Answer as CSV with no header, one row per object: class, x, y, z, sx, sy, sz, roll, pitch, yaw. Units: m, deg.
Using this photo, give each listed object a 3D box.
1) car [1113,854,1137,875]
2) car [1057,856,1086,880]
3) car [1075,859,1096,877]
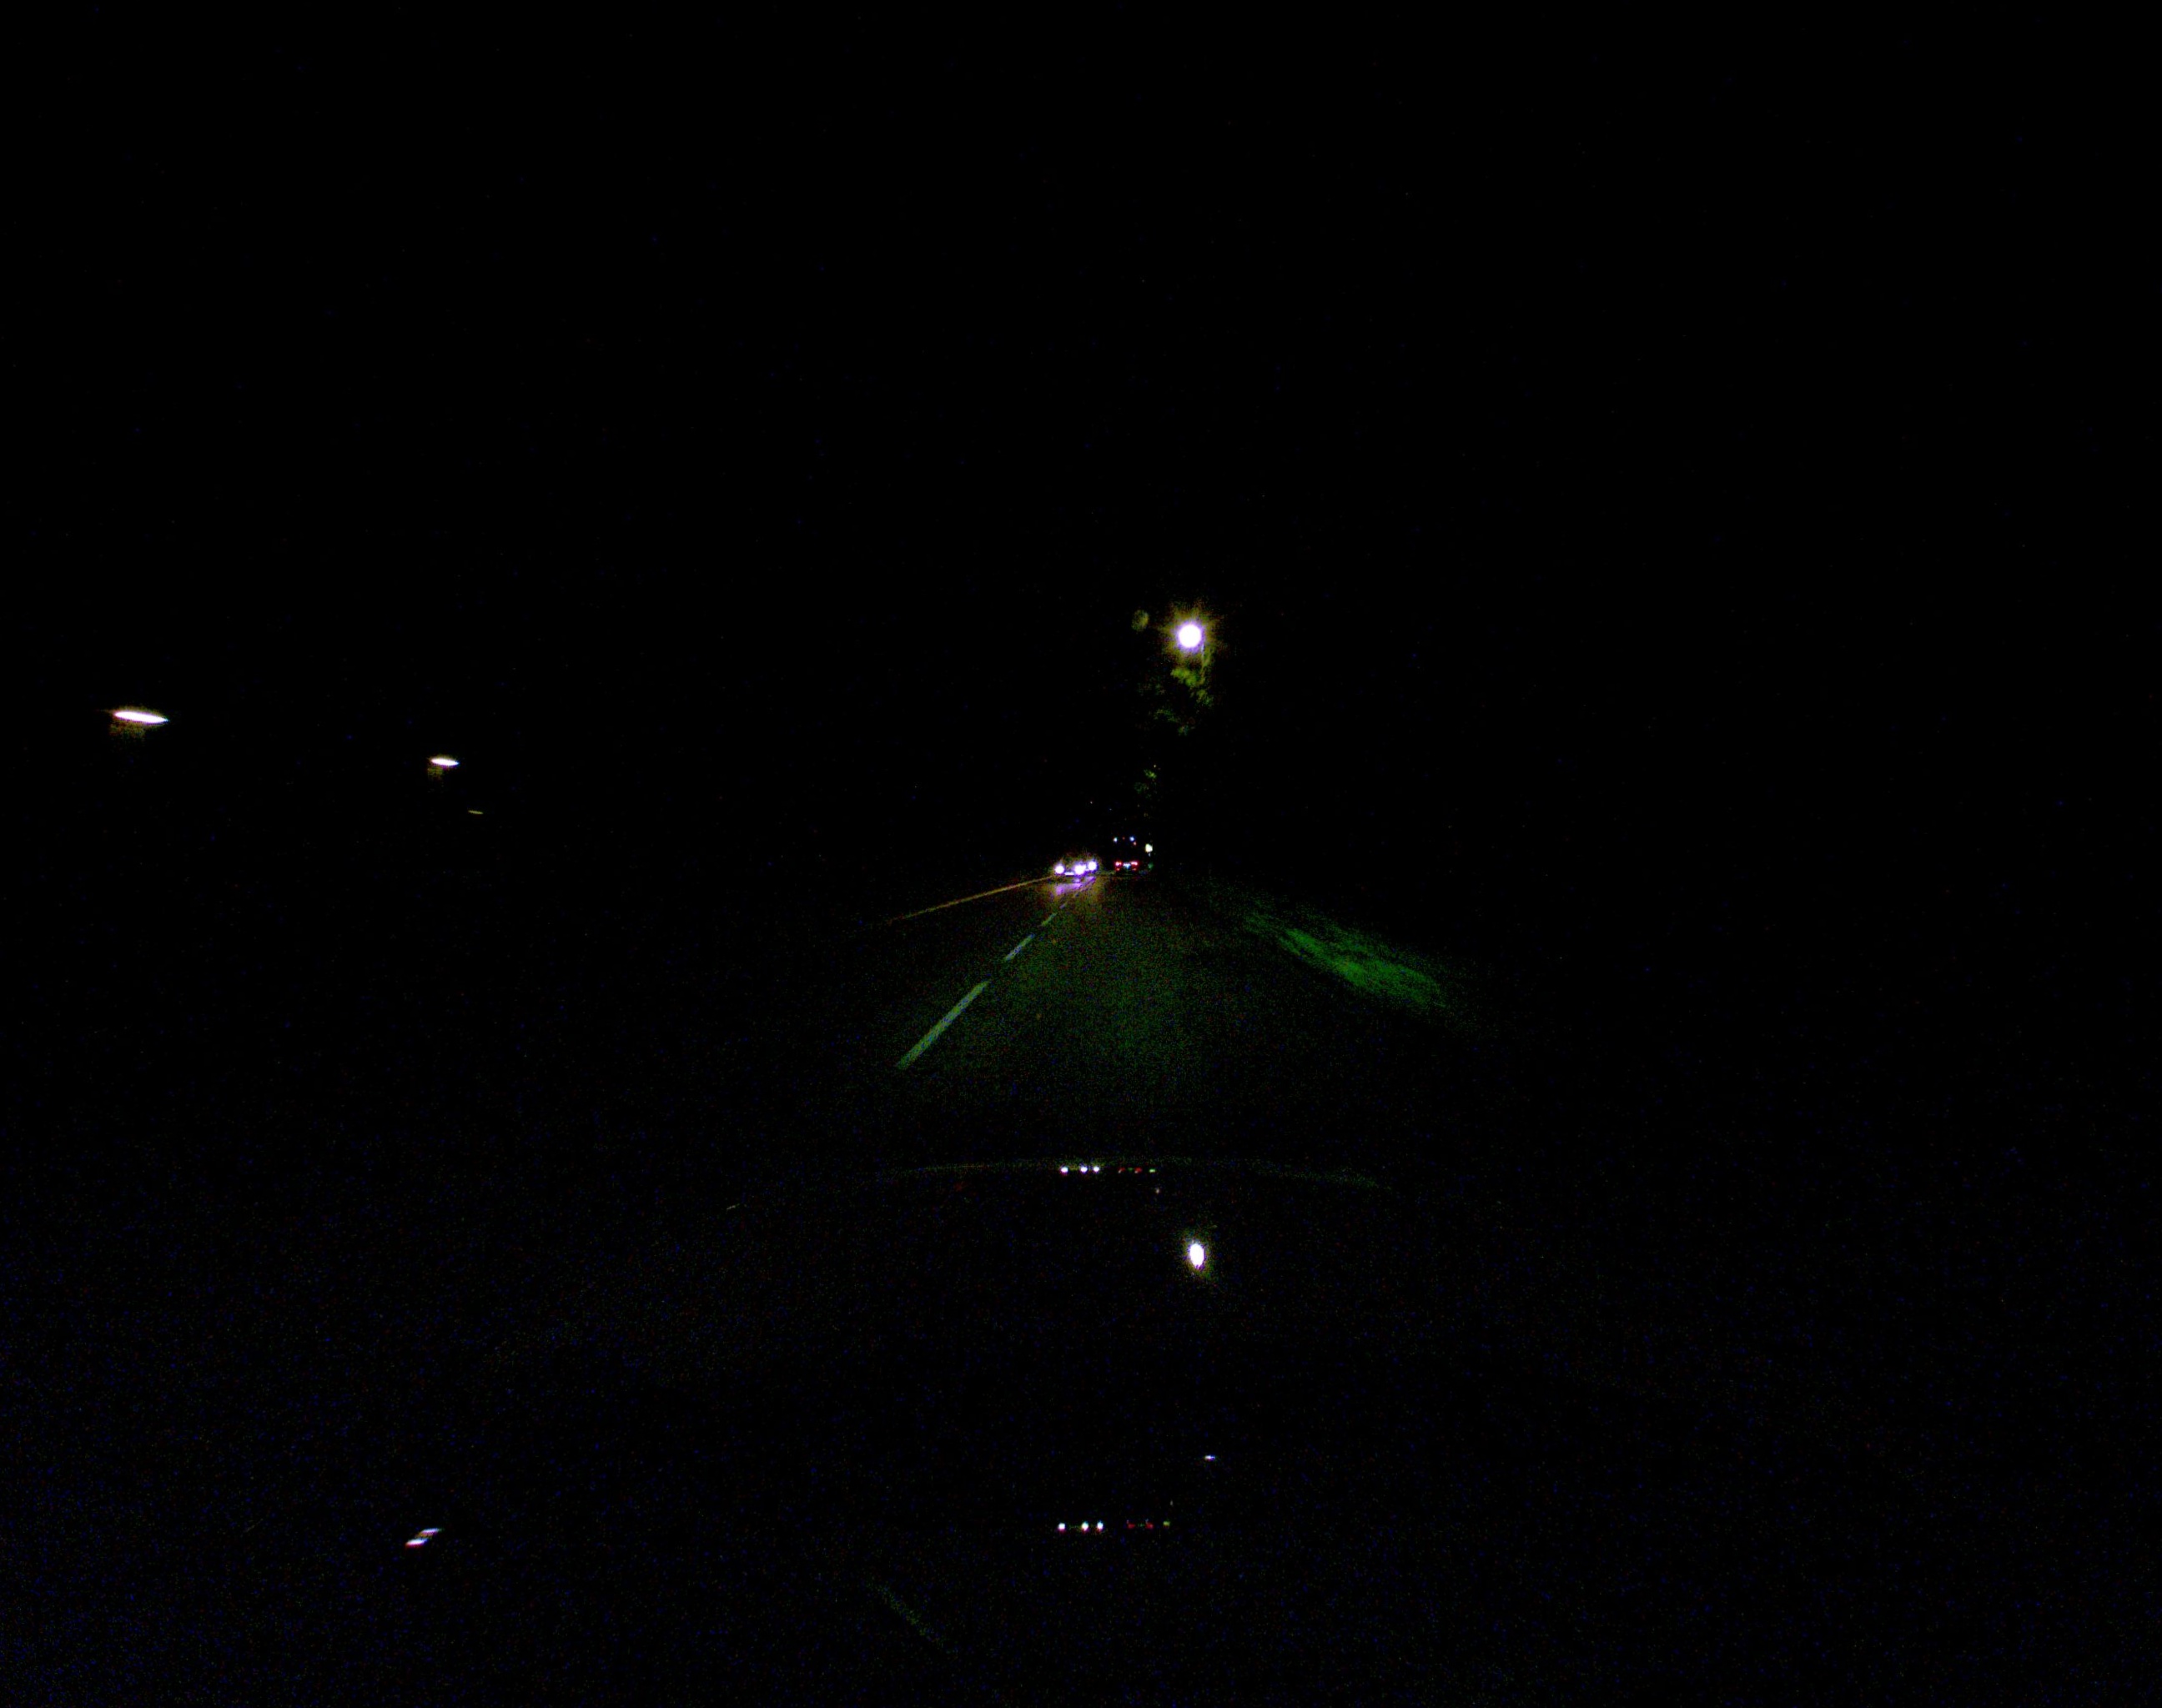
car,3.497,0.818,65.176,1.757,1.642,3.722,-1,0,0
car,-0.585,0.880,53.102,1.681,1.457,4.002,-1,0,2
car,0.397,1.172,69.380,1.641,1.491,3.558,-1,0,1
